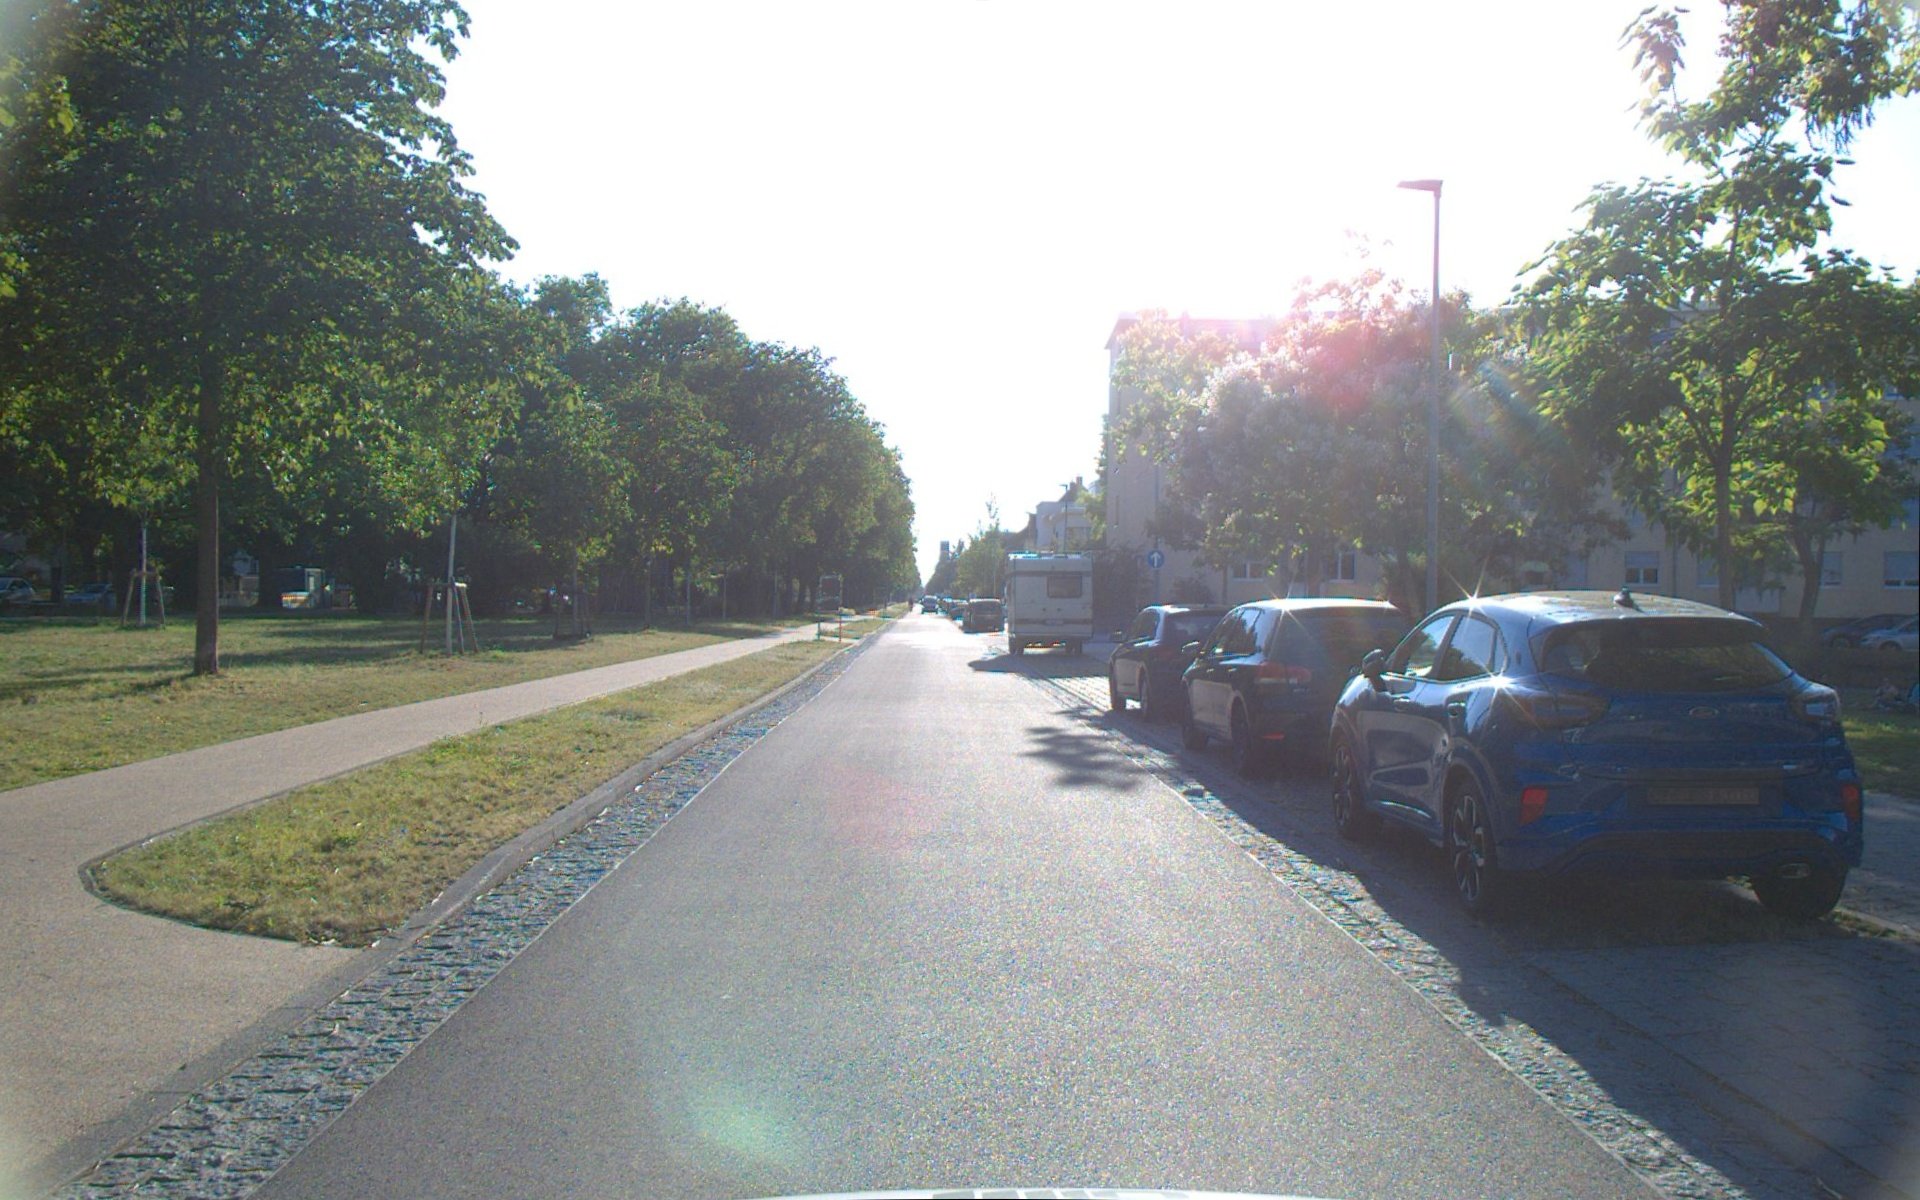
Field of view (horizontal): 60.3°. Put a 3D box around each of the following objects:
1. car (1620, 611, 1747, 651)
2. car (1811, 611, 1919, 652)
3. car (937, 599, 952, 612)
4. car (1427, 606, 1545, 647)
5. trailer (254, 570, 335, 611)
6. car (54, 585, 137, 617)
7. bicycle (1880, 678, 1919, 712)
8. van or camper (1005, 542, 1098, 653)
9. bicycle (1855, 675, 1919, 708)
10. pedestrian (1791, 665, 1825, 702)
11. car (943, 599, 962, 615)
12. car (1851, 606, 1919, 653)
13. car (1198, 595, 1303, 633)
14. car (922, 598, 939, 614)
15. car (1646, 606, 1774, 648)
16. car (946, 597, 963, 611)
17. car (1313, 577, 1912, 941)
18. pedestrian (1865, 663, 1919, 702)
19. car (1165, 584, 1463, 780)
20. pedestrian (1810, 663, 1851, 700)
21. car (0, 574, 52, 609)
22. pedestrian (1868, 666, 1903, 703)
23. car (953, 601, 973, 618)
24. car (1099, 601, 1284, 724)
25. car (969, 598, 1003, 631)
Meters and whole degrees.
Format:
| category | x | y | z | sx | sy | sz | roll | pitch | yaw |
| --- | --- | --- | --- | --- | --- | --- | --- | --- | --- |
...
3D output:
| category | x | y | z | sx | sy | sz | roll | pitch | yaw |
| --- | --- | --- | --- | --- | --- | --- | --- | --- | --- |
| car | 26.181 | 1.110 | 59.987 | 4.107 | 1.381 | 1.693 | 0 | 0 | 19 |
| car | 34.500 | 1.175 | 62.782 | 3.910 | 1.478 | 1.878 | 0 | 0 | 27 |
| car | -1.807 | 0.653 | 189.236 | 1.593 | 1.434 | 4.248 | 0 | 0 | -2 |
| car | 19.579 | 0.973 | 61.731 | 4.105 | 1.488 | 1.694 | 0 | 0 | 14 |
| trailer | -43.061 | -0.594 | 107.205 | 2.409 | 2.532 | 7.048 | 0 | 0 | 0 |
| car | -42.796 | 0.081 | 81.996 | 1.953 | 1.534 | 4.114 | 0 | 0 | 0 |
| bicycle | 20.690 | 2.029 | 35.203 | 1.730 | 0.625 | 1.811 | 1 | 0 | 23 |
| van or camper | 2.517 | -0.006 | 46.924 | 2.189 | 2.955 | 5.670 | 0 | -1 | -2 |
| bicycle | 20.940 | 2.039 | 36.693 | 1.730 | 0.625 | 1.811 | 1 | 0 | 23 |
| pedestrian | 19.916 | 1.961 | 38.857 | 0.463 | 0.827 | 0.612 | 2 | 0 | 0 |
| car | -0.707 | 0.660 | 153.198 | 1.593 | 1.434 | 4.248 | 0 | 0 | -2 |
| car | 32.910 | 1.019 | 56.911 | 3.909 | 1.579 | 1.609 | 0 | -1 | 26 |
| car | 12.073 | 0.580 | 69.008 | 4.107 | 1.557 | 2.001 | 0 | 0 | 3 |
| car | -3.194 | 0.642 | 177.783 | 1.789 | 1.698 | 4.248 | 0 | 0 | -2 |
| car | 29.566 | 1.046 | 65.322 | 4.416 | 1.597 | 1.881 | 0 | 0 | 18 |
| car | -0.571 | 0.394 | 172.547 | 1.593 | 1.434 | 4.248 | 0 | 0 | -2 |
| car | 3.313 | 0.709 | 9.366 | 1.696 | 1.578 | 4.275 | 0 | 0 | 0 |
| pedestrian | 21.626 | 1.904 | 38.096 | 1.238 | 0.827 | 0.570 | 2 | 0 | 45 |
| car | 3.149 | 0.678 | 15.615 | 1.697 | 1.578 | 4.420 | 0 | 0 | -2 |
| pedestrian | 20.944 | 1.952 | 39.810 | 0.598 | 0.827 | 0.724 | 2 | 0 | 0 |
| car | -42.620 | -0.367 | 73.773 | 1.953 | 1.534 | 4.114 | 0 | 0 | 0 |
| pedestrian | 21.858 | 1.984 | 39.058 | 0.463 | 0.827 | 0.612 | 2 | 0 | 0 |
| car | 0.270 | 0.777 | 141.475 | 1.593 | 1.434 | 4.248 | 0 | 0 | -2 |
| car | 2.993 | 0.771 | 22.195 | 1.594 | 1.490 | 4.245 | 0 | 0 | -4 |
| car | 1.359 | 0.772 | 88.169 | 1.593 | 1.698 | 4.248 | 0 | 0 | -2 |
